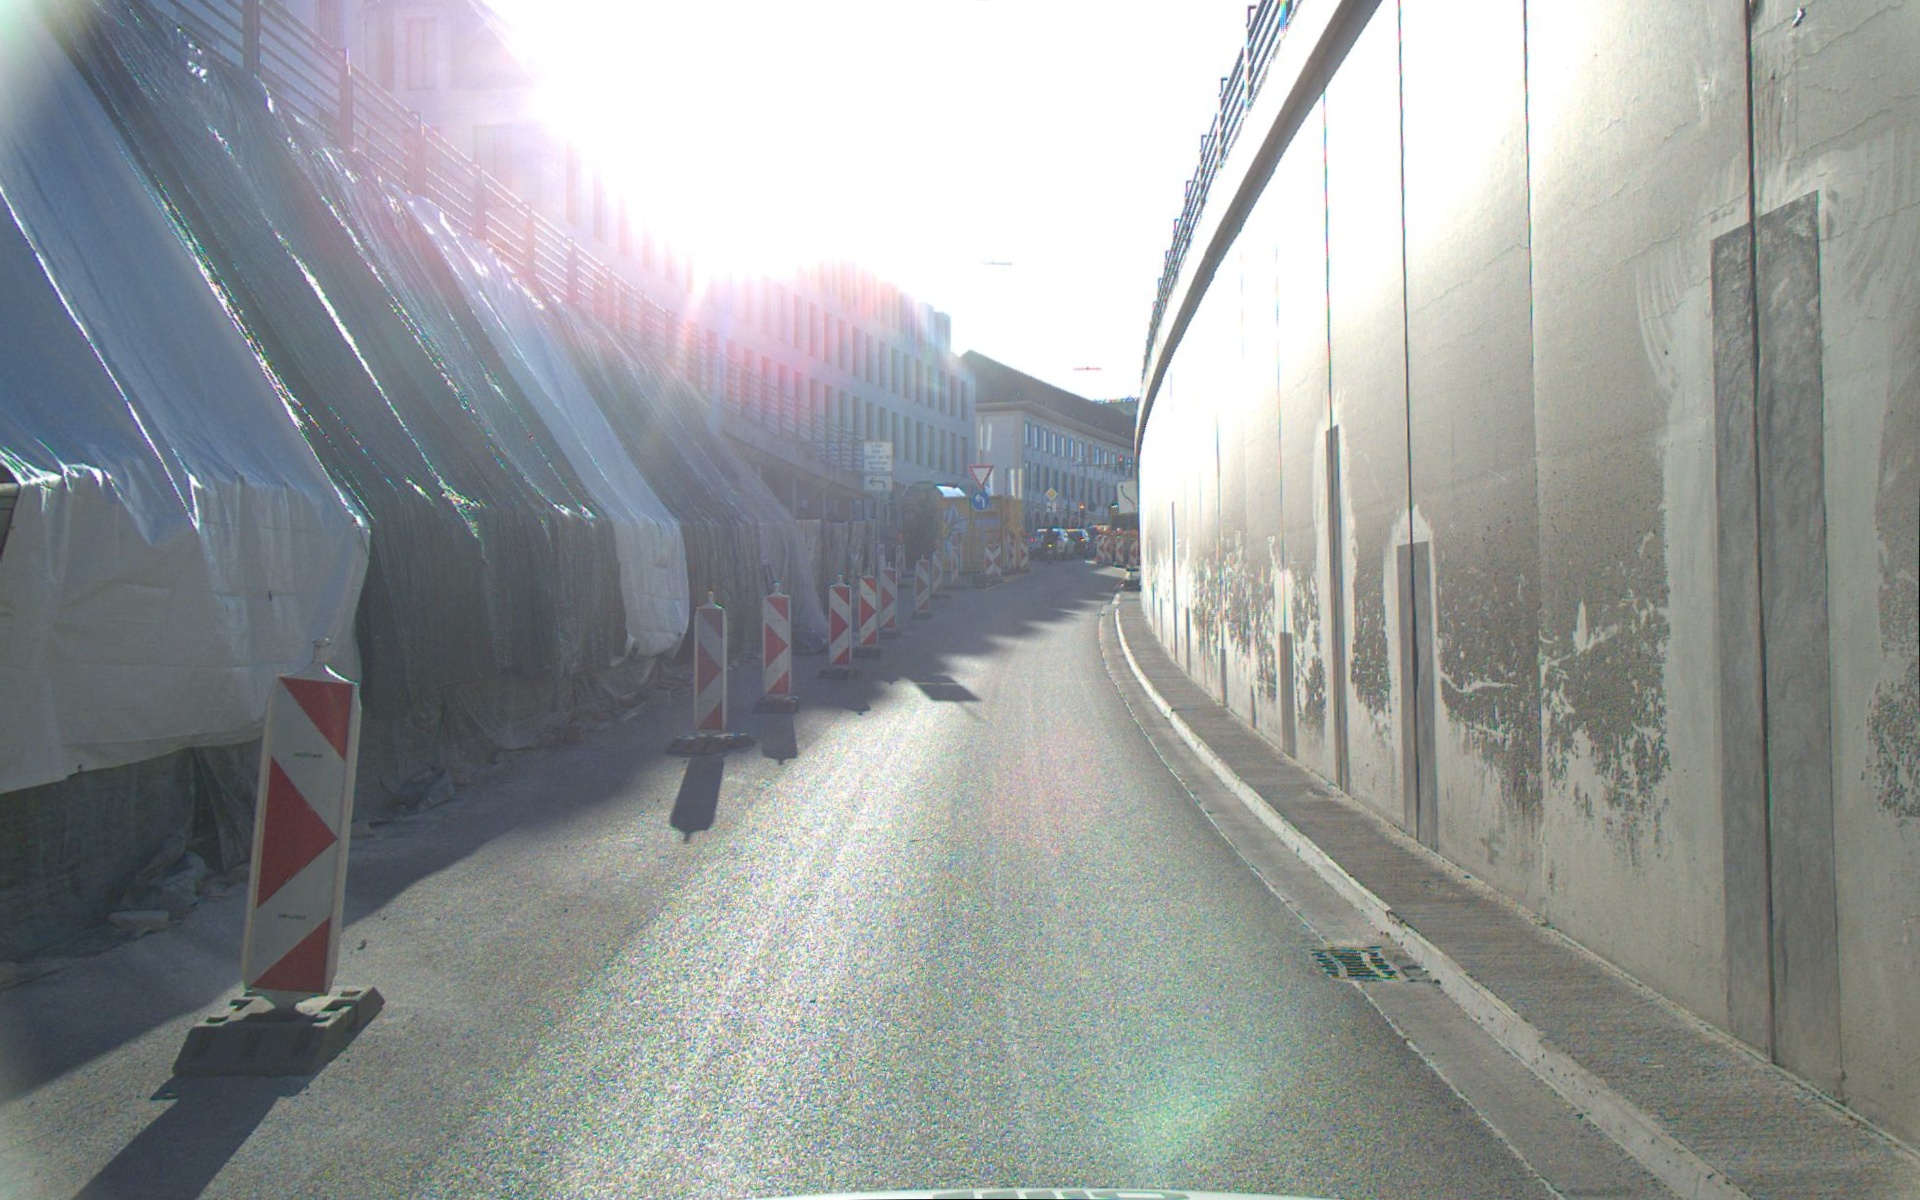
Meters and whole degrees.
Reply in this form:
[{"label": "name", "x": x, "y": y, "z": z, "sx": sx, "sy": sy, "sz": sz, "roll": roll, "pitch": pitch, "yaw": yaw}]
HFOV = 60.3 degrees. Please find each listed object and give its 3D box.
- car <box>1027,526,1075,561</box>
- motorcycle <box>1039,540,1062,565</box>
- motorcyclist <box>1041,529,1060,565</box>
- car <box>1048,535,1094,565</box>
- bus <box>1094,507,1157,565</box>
[{"label": "car", "x": 4.400, "y": -2.723, "z": 79.679, "sx": 1.738, "sy": 1.632, "sz": 4.004, "roll": 1, "pitch": 2, "yaw": 12}, {"label": "motorcycle", "x": 3.983, "y": -2.092, "z": 72.939, "sx": 0.755, "sy": 1.010, "sz": 2.185, "roll": 0, "pitch": -1, "yaw": 10}, {"label": "motorcyclist", "x": 3.990, "y": -2.342, "z": 72.916, "sx": 0.787, "sy": 1.530, "sz": 0.777, "roll": 0, "pitch": -1, "yaw": 10}, {"label": "car", "x": 5.780, "y": -2.593, "z": 85.945, "sx": 1.782, "sy": 1.560, "sz": 4.004, "roll": 1, "pitch": 2, "yaw": 13}, {"label": "bus", "x": 7.666, "y": -2.947, "z": 76.260, "sx": 2.177, "sy": 2.601, "sz": 4.431, "roll": 0, "pitch": 2, "yaw": 15}]
